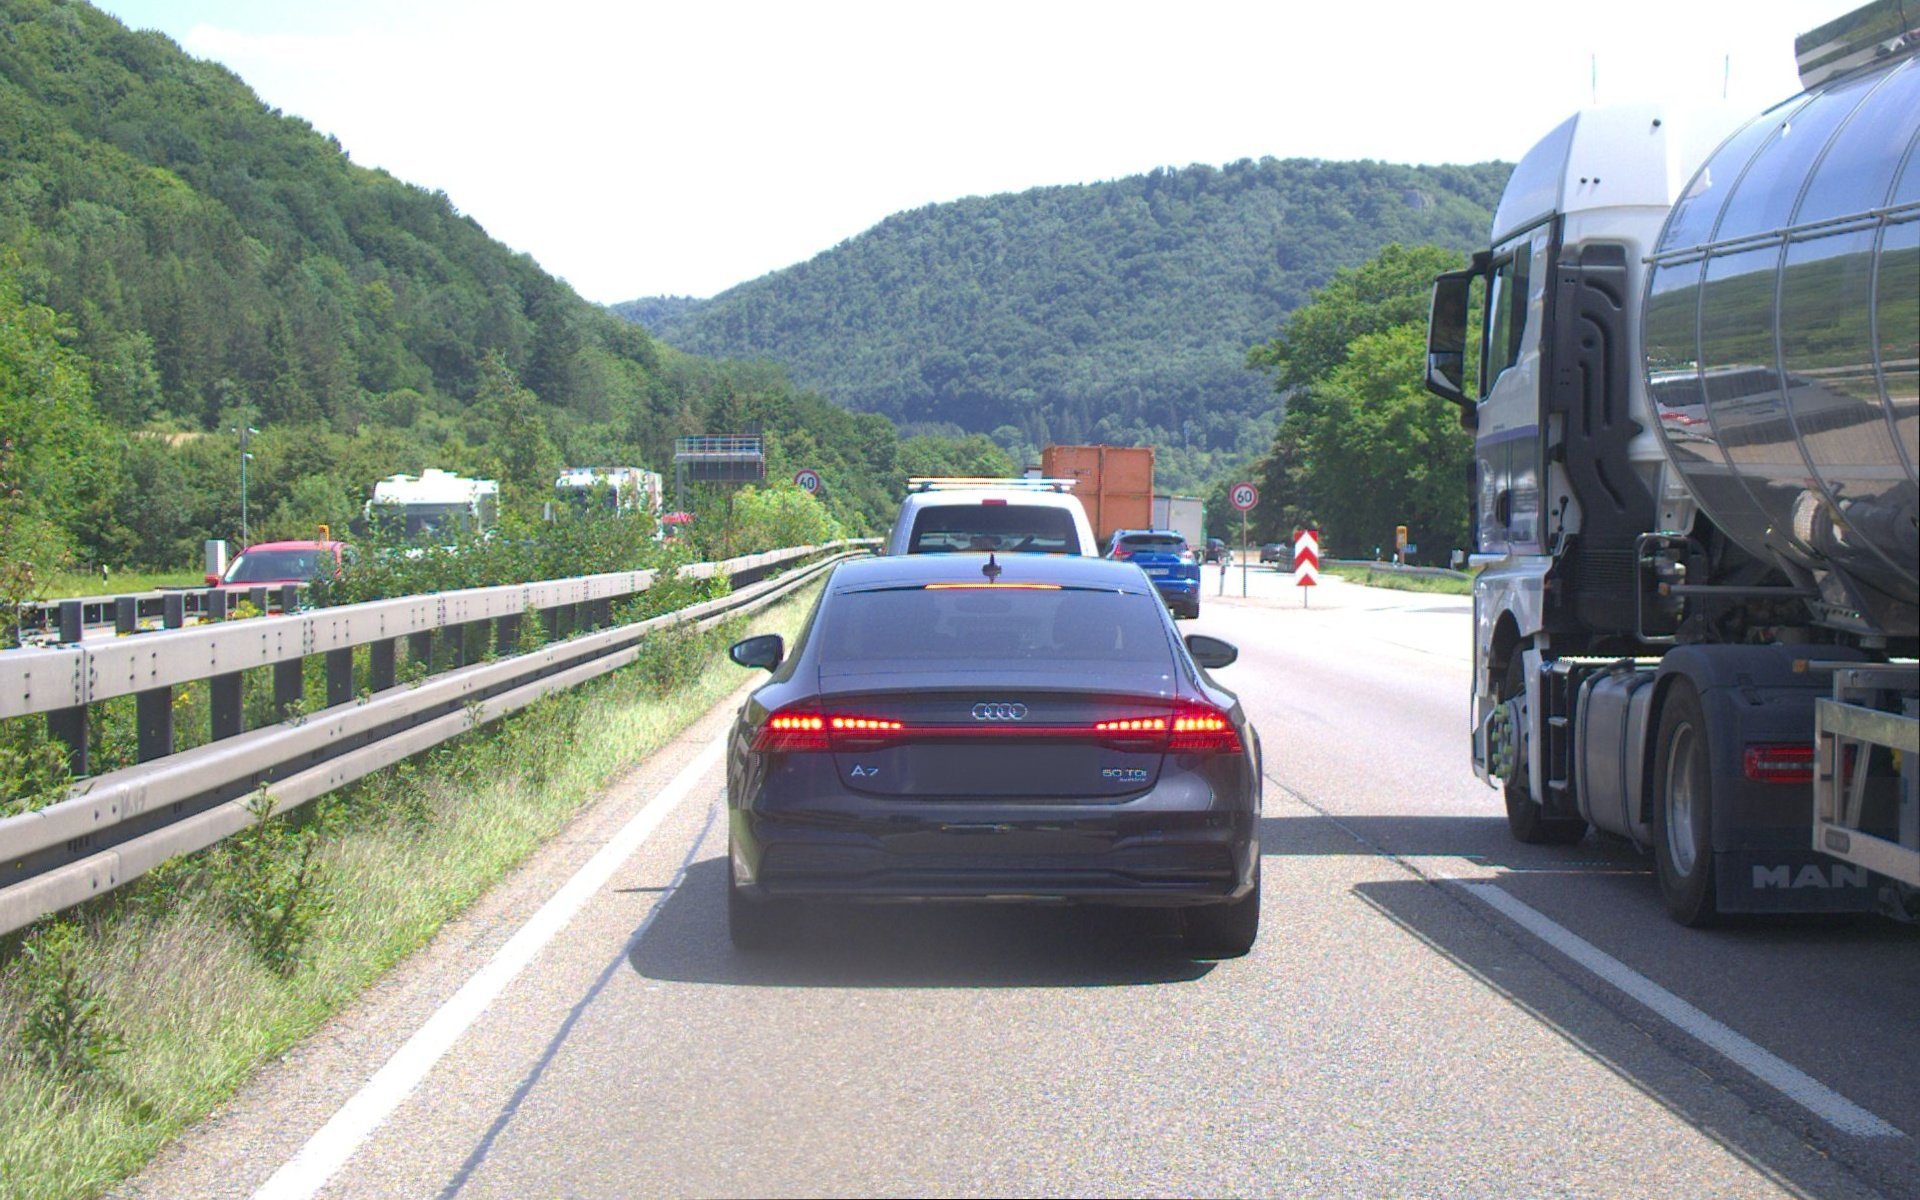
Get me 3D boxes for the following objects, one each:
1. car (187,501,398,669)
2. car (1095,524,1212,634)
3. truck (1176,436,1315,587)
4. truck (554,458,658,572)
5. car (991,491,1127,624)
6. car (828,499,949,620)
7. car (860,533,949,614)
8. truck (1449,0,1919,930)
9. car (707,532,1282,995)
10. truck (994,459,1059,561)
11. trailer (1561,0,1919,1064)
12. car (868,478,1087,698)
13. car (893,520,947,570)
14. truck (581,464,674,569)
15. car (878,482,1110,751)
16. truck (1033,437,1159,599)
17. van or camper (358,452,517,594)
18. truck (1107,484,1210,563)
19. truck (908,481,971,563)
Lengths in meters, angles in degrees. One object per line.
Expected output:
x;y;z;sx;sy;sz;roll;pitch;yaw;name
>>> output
-8.379;-0.222;43.491;1.993;2.007;4.335;0;1;-3;car
3.597;-0.426;64.537;1.993;1.996;4.000;0;1;1;car
8.089;-2.522;99.270;2.817;3.989;14.956;1;1;0;truck
-12.853;-3.083;125.585;2.869;3.992;10.172;0;1;-1;truck
1.539;-0.695;54.563;1.993;2.007;4.000;-1;1;0;car
-1.220;-0.721;59.240;1.993;2.007;4.000;0;1;-1;car
-1.114;-0.566;70.659;1.712;1.613;4.000;0;1;1;car
3.916;-0.677;15.612;2.511;3.745;5.246;0;1;-1;truck
0.024;0.492;13.162;1.849;1.483;4.083;0;1;-3;car
2.330;-3.181;122.987;1.993;3.435;11.812;0;1;0;truck
4.030;-0.516;9.075;2.538;3.722;11.893;0;1;-1;trailer
0.136;-0.149;33.569;1.993;2.007;4.000;0;1;-1;car
-1.311;-1.820;113.985;1.712;1.613;4.000;0;1;1;car
-13.006;-3.283;135.176;2.869;3.967;9.032;0;1;-1;truck
0.211;0.069;25.510;1.576;1.827;4.000;0;1;-1;car
3.524;-2.188;92.560;2.817;3.989;14.956;1;1;0;truck
-12.811;-1.889;84.851;2.590;3.324;7.648;0;1;1;van or camper
11.692;-4.433;200.858;3.795;4.399;14.948;0;1;12;truck
-0.877;-3.387;149.924;2.628;3.429;11.421;0;1;0;truck
